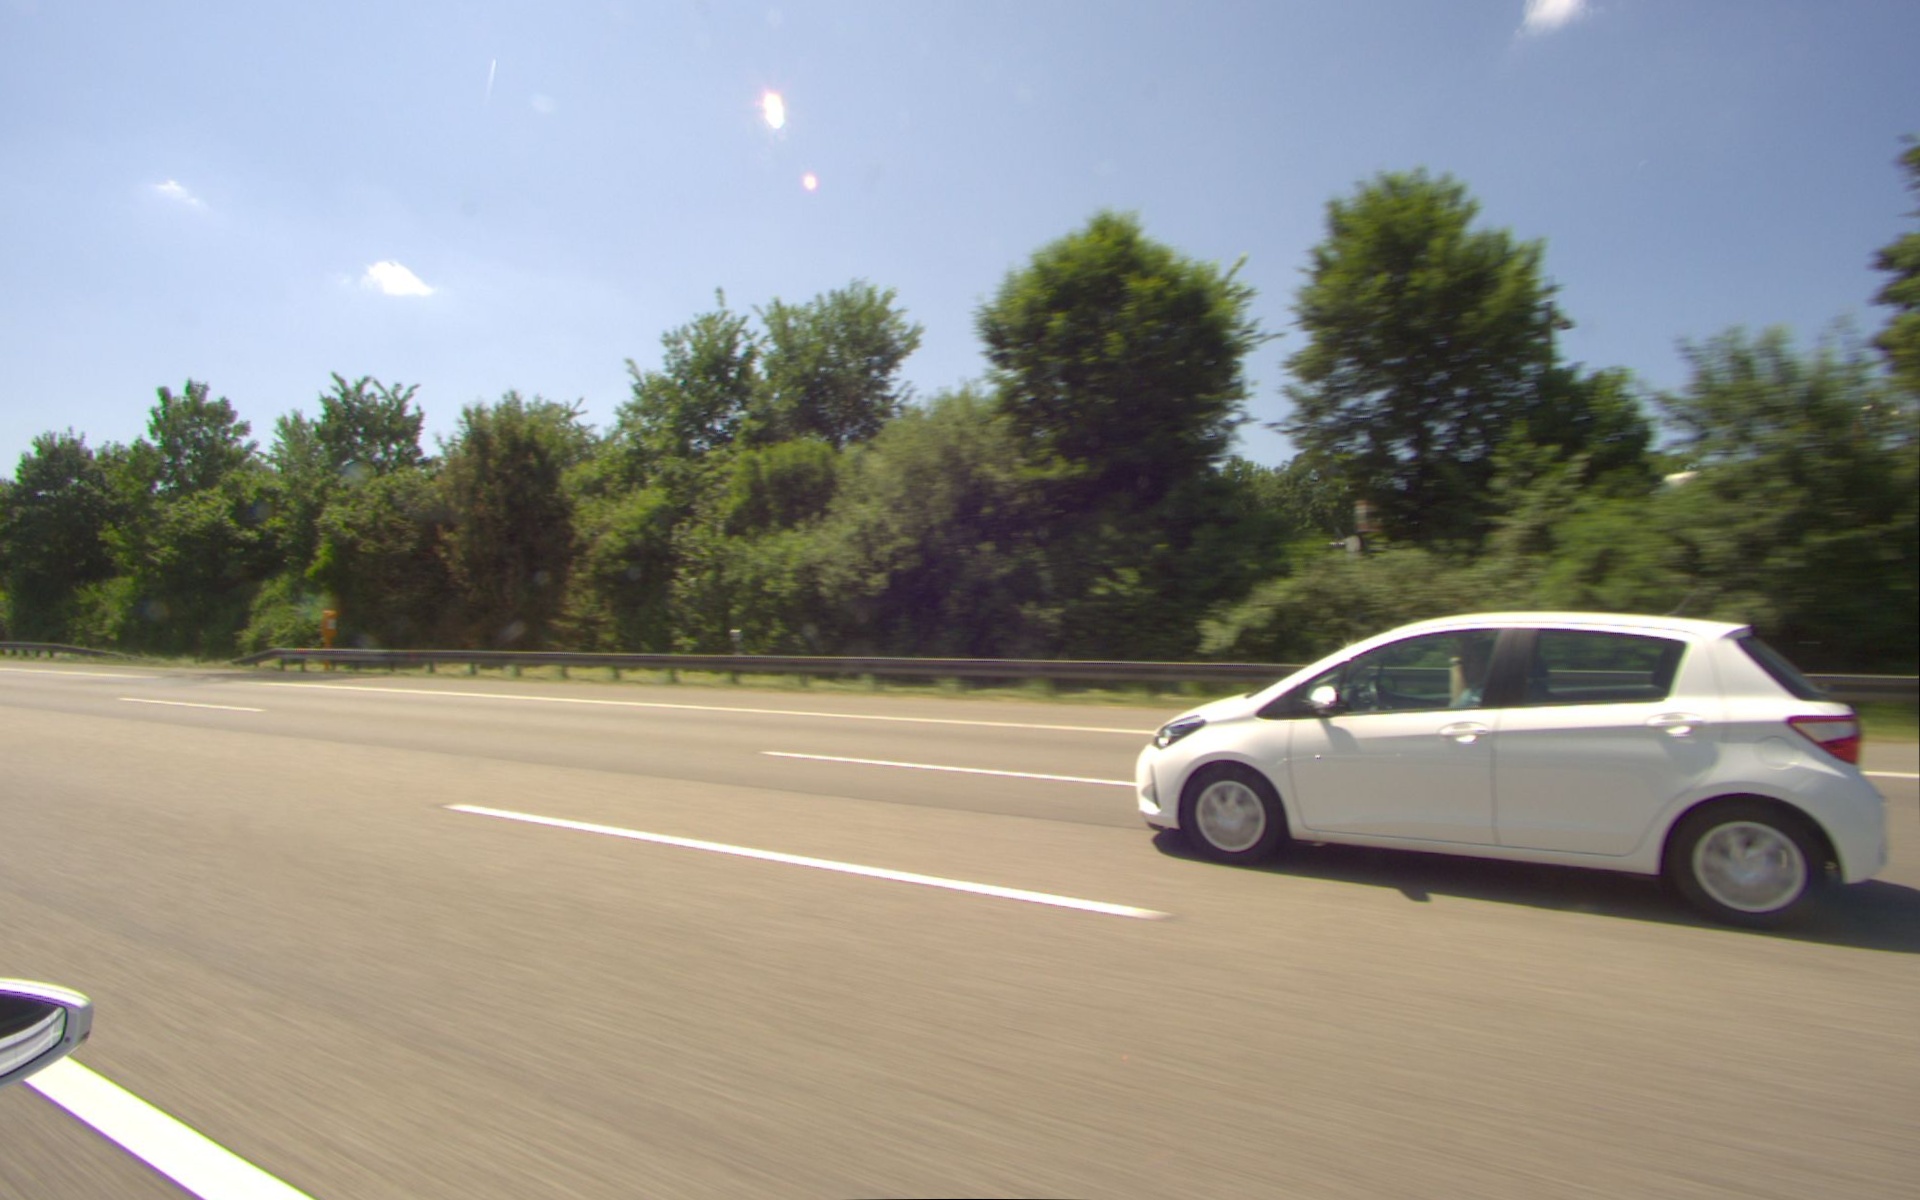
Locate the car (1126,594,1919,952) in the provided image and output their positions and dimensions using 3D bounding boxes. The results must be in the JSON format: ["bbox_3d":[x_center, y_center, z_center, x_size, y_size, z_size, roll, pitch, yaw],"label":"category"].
[{"bbox_3d":[3.365,0.796,5.834,4.420,1.538,1.747,-1,-2,32],"label":"car"}]
